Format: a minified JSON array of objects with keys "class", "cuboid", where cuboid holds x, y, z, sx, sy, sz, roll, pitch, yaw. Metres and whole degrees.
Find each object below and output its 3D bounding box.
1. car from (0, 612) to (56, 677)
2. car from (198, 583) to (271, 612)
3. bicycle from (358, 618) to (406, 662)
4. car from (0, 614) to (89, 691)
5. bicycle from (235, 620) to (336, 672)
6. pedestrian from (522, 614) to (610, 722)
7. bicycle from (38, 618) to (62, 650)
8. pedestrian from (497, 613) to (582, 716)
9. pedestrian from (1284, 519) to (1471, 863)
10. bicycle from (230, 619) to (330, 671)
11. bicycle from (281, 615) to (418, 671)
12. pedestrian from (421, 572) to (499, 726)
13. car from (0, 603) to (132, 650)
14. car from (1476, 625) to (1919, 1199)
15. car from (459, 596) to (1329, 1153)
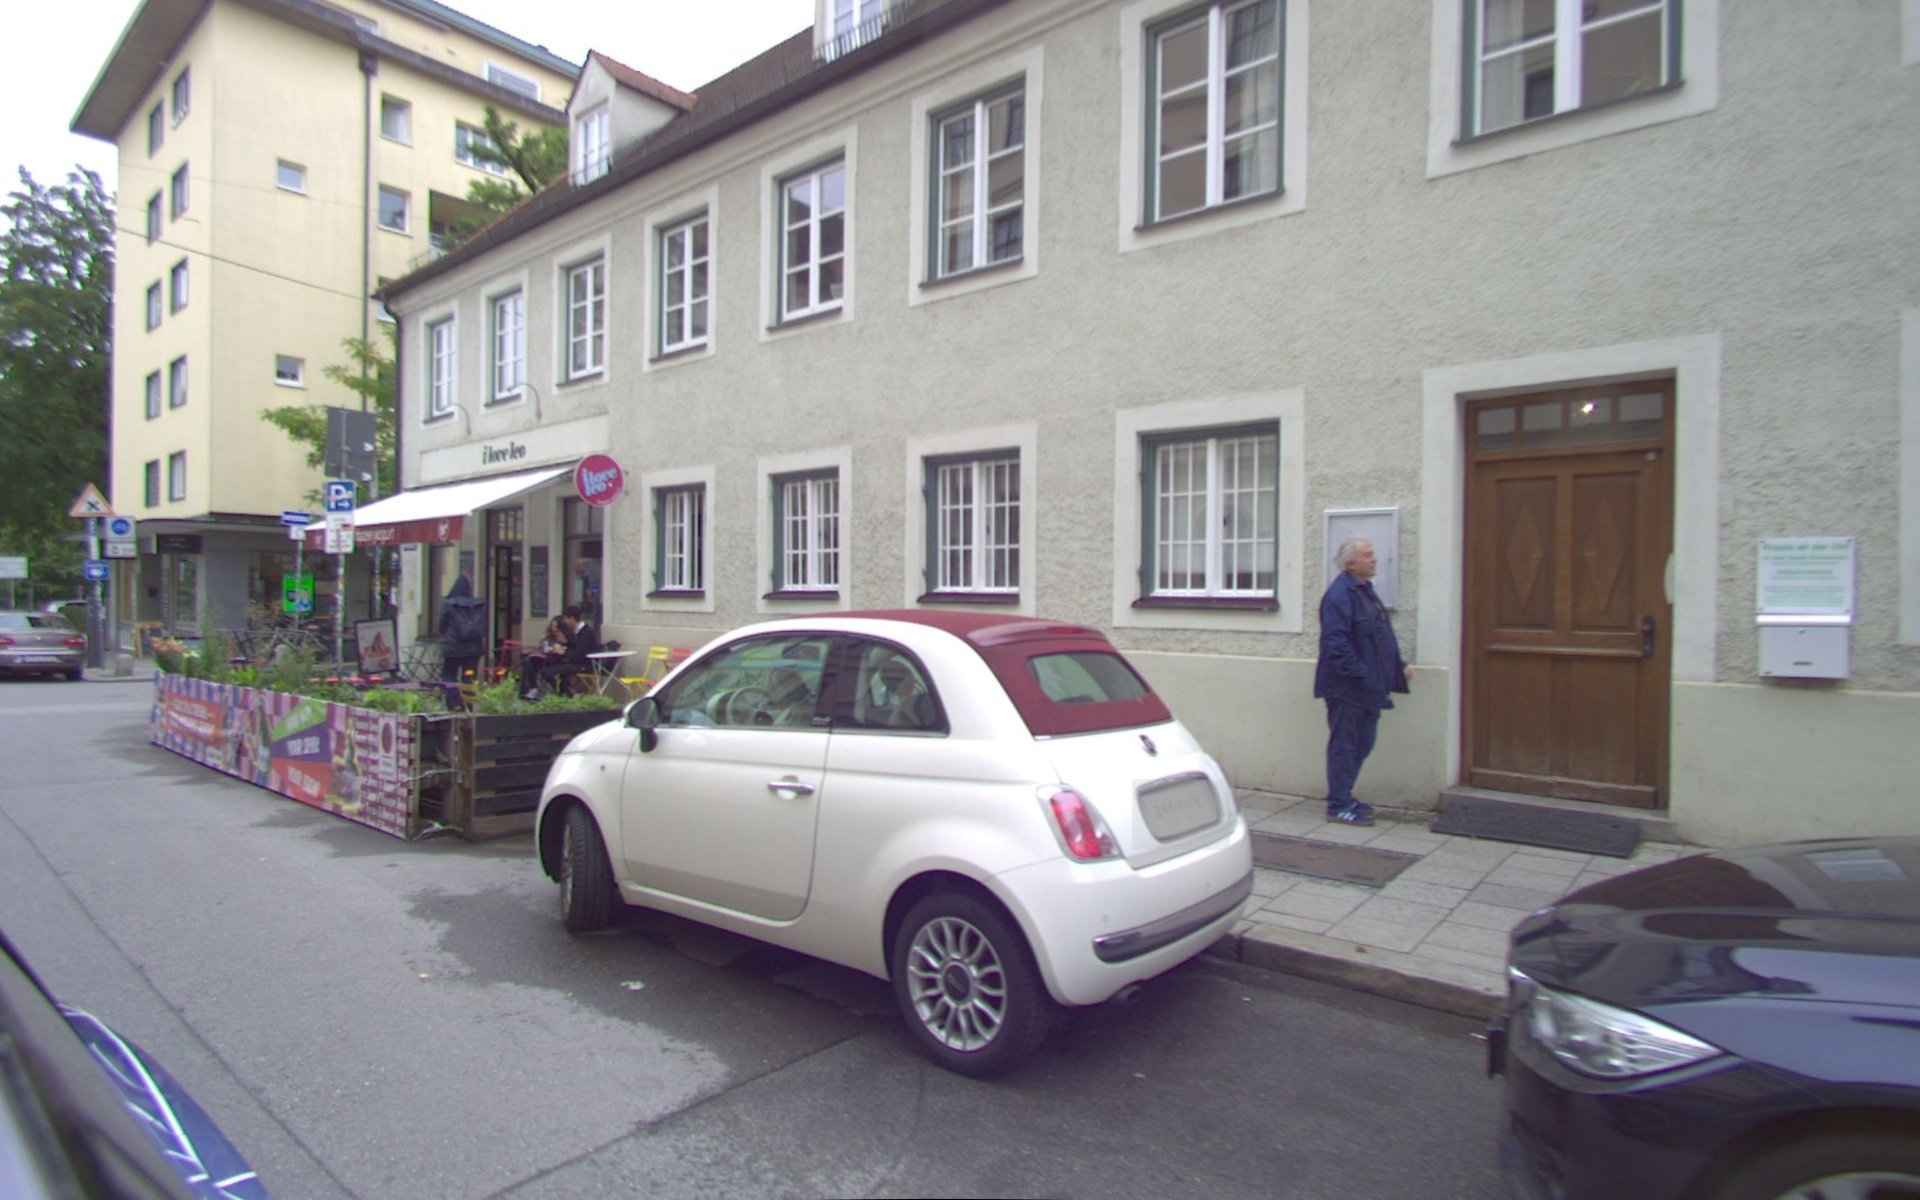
[{"class":"car","cuboid":[-23.426,1.049,24.642,4.096,1.482,1.661,-1,-2,42]},{"class":"car","cuboid":[-52.953,-0.186,73.944,3.900,2.120,1.911,0,0,-18]},{"class":"bicycle","cuboid":[-13.847,0.951,24.221,1.714,0.973,0.376,1,2,38]},{"class":"car","cuboid":[-20.134,1.041,21.414,4.944,1.482,1.663,-1,-2,39]},{"class":"bicycle","cuboid":[-14.929,1.001,22.422,0.392,1.042,1.798,-2,0,43]},{"class":"pedestrian","cuboid":[-5.023,0.844,12.910,0.693,1.300,0.795,1,0,41]},{"class":"bicycle","cuboid":[-36.107,1.321,40.135,1.854,1.219,0.555,0,0,44]},{"class":"pedestrian","cuboid":[-5.561,0.828,13.394,0.693,1.299,0.795,1,0,41]},{"class":"pedestrian","cuboid":[2.566,0.506,6.209,0.827,1.912,0.814,1,0,40]},{"class":"bicycle","cuboid":[-15.221,0.994,22.702,0.392,1.042,1.798,-2,0,43]},{"class":"bicycle","cuboid":[-15.218,1.036,25.299,0.818,1.220,2.811,1,2,43]},{"class":"pedestrian","cuboid":[-6.044,0.564,12.232,0.877,1.795,0.523,1,0,41]},{"class":"car","cuboid":[-41.715,1.186,47.194,1.926,2.016,4.381,1,0,26]},{"class":"car","cuboid":[3.334,0.720,1.085,4.682,1.349,1.780,-1,-1,40]},{"class":"car","cuboid":[-0.495,0.741,4.551,3.709,1.486,1.738,0,0,38]}]
